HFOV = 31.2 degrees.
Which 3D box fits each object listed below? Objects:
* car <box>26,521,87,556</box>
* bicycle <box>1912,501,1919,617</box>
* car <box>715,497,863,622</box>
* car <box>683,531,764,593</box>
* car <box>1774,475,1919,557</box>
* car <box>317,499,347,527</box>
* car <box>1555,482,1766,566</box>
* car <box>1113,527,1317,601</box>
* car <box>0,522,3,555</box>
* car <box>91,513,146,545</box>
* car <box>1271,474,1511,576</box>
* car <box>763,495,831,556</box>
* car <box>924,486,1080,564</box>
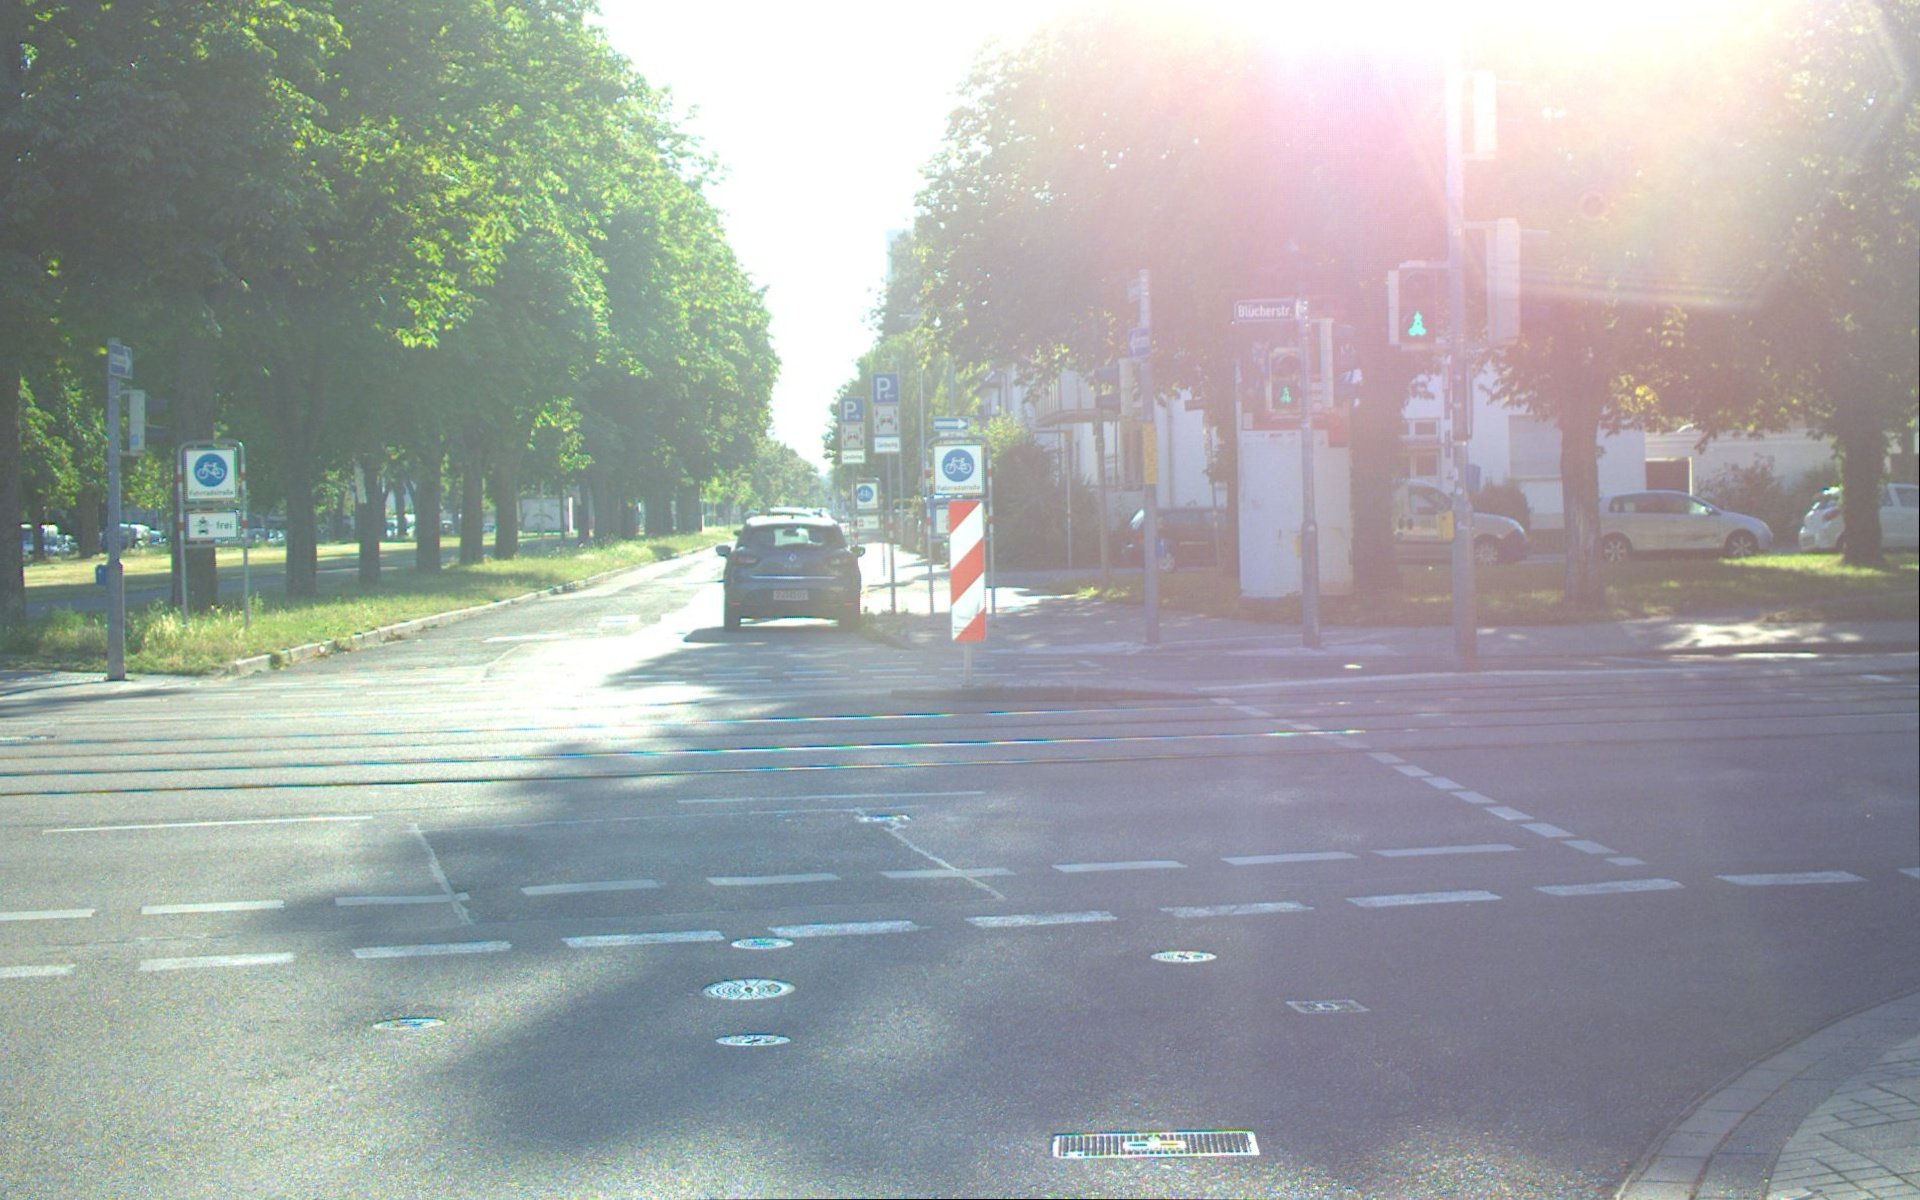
[{"bbox_3d":[-44.016,-2.966,167.533,2.022,1.653,3.984,1,1,-2],"label":"car"},{"bbox_3d":[9.940,-0.411,32.940,1.522,1.085,0.467,-1,5,8],"label":"bicycle"},{"bbox_3d":[-2.167,-0.520,44.552,1.725,1.506,4.541,1,1,-1],"label":"car"},{"bbox_3d":[-5.367,-0.857,78.376,1.709,1.355,4.203,1,1,-2],"label":"car"},{"bbox_3d":[17.794,-1.611,65.976,3.920,1.518,1.524,0,0,-7],"label":"car"},{"bbox_3d":[-46.378,-6.417,253.950,1.654,1.932,3.568,1,-1,-3],"label":"car"},{"bbox_3d":[13.289,-1.443,65.303,3.552,1.510,1.606,-1,1,-8],"label":"car"},{"bbox_3d":[5.223,-0.742,70.623,3.986,1.442,1.716,-1,1,-2],"label":"car"},{"bbox_3d":[-49.663,-3.113,172.630,1.993,1.653,4.355,1,1,-1],"label":"car"},{"bbox_3d":[-45.731,-3.880,186.886,1.993,1.653,4.571,-1,2,-3],"label":"car"},{"bbox_3d":[8.176,-1.425,65.485,4.241,1.868,2.031,-1,1,-2],"label":"car"},{"bbox_3d":[-4.926,-2.267,103.716,1.993,1.775,4.001,1,2,-3],"label":"car"},{"bbox_3d":[1.126,-2.033,93.520,3.986,1.816,1.760,-2,-4,-6],"label":"car"}]
